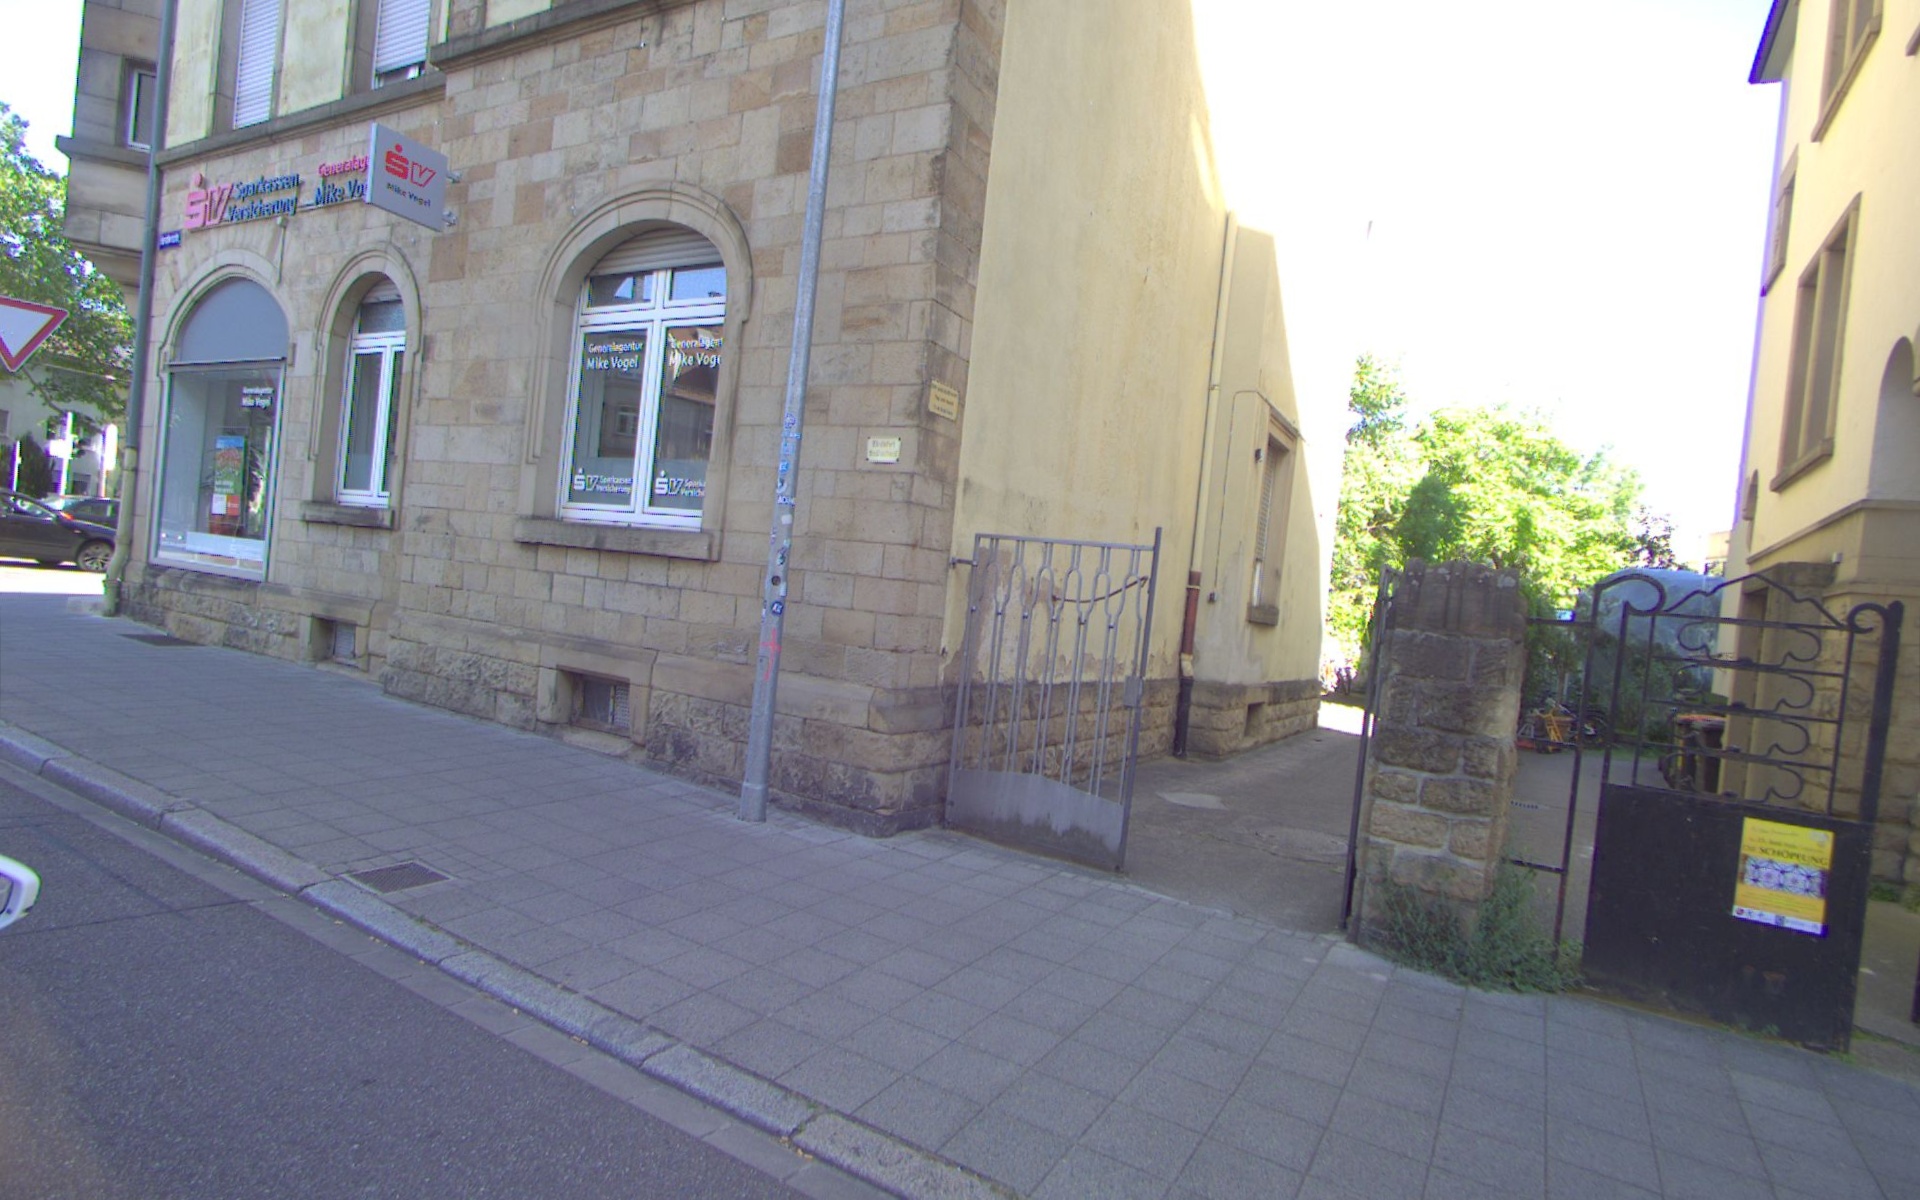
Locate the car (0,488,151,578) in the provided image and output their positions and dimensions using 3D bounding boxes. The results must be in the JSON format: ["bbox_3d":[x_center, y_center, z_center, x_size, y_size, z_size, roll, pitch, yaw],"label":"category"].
[{"bbox_3d":[-18.296,-1.390,18.801,1.699,1.474,4.630,7,0,23],"label":"car"}]

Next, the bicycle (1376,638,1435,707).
[{"bbox_3d":[11.209,1.779,25.250,0.904,1.532,2.667,6,2,31],"label":"bicycle"}]

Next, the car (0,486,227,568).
[{"bbox_3d":[-21.031,-1.757,24.634,1.944,1.475,4.631,7,0,19],"label":"car"}]

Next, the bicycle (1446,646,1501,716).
[{"bbox_3d":[12.594,1.939,24.636,0.904,1.532,2.667,6,2,31],"label":"bicycle"}]

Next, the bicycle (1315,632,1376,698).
[{"bbox_3d":[9.975,1.644,25.967,0.904,1.532,2.667,6,2,31],"label":"bicycle"}]
